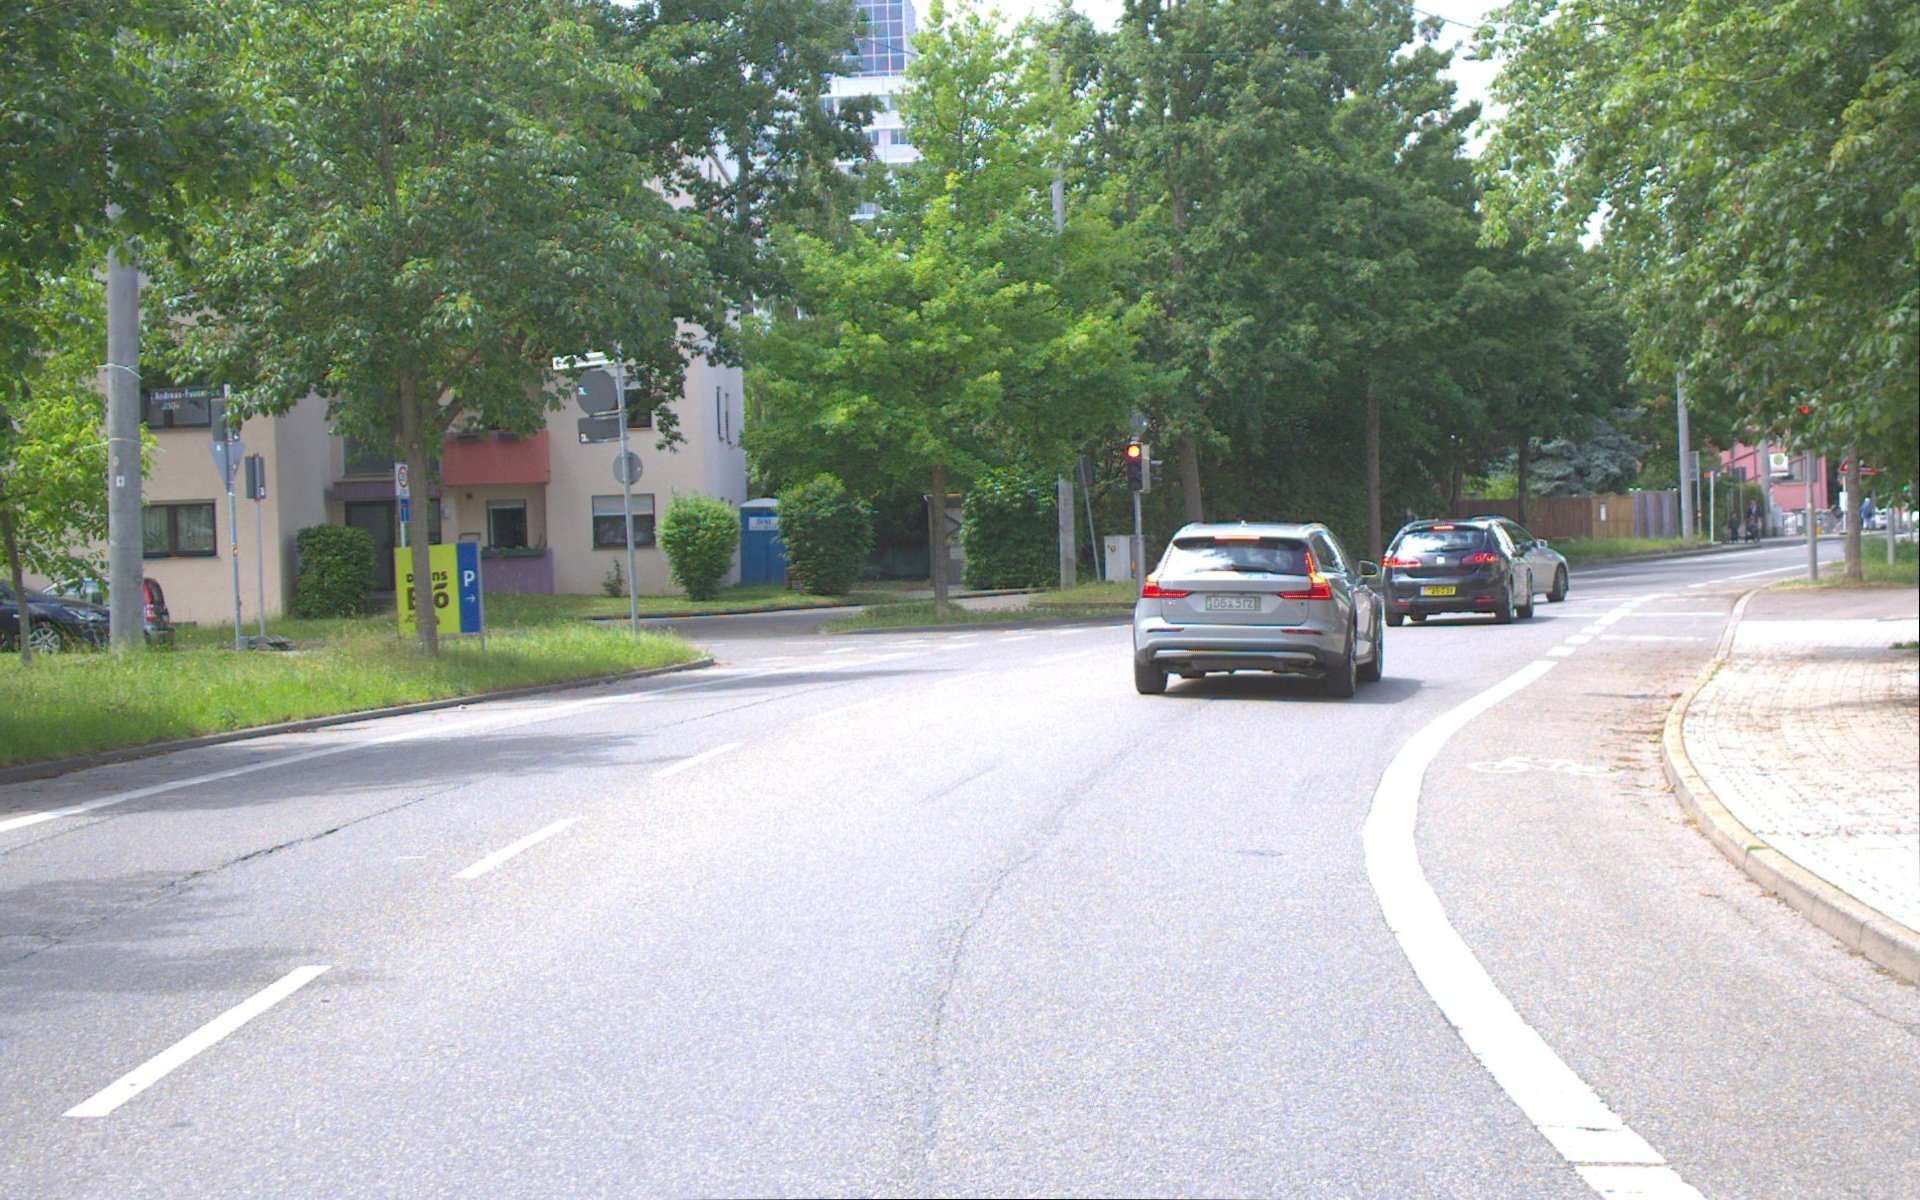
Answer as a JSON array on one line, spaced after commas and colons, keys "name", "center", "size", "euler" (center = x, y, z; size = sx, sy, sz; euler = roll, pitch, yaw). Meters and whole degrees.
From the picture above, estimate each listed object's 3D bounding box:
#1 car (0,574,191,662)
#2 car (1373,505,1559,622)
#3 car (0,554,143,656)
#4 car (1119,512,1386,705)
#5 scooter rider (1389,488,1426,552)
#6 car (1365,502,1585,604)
[{"name": "car", "center": [-15.581, 0.327, 59.607], "size": [4.077, 1.395, 1.794], "euler": [-1, -3, 1]}, {"name": "car", "center": [7.159, -0.548, 48.285], "size": [1.806, 1.518, 4.325], "euler": [2, 2, 19]}, {"name": "car", "center": [-14.309, 0.097, 50.690], "size": [4.077, 1.395, 1.794], "euler": [-1, -3, 1]}, {"name": "car", "center": [2.668, 0.013, 30.467], "size": [1.957, 1.518, 4.328], "euler": [2, 2, 10]}, {"name": "scooter rider", "center": [12.063, -2.155, 92.638], "size": [0.705, 1.721, 0.680], "euler": [-1, 0, -24]}, {"name": "car", "center": [8.704, -0.774, 57.860], "size": [1.808, 1.611, 4.320], "euler": [2, 1, 36]}]
